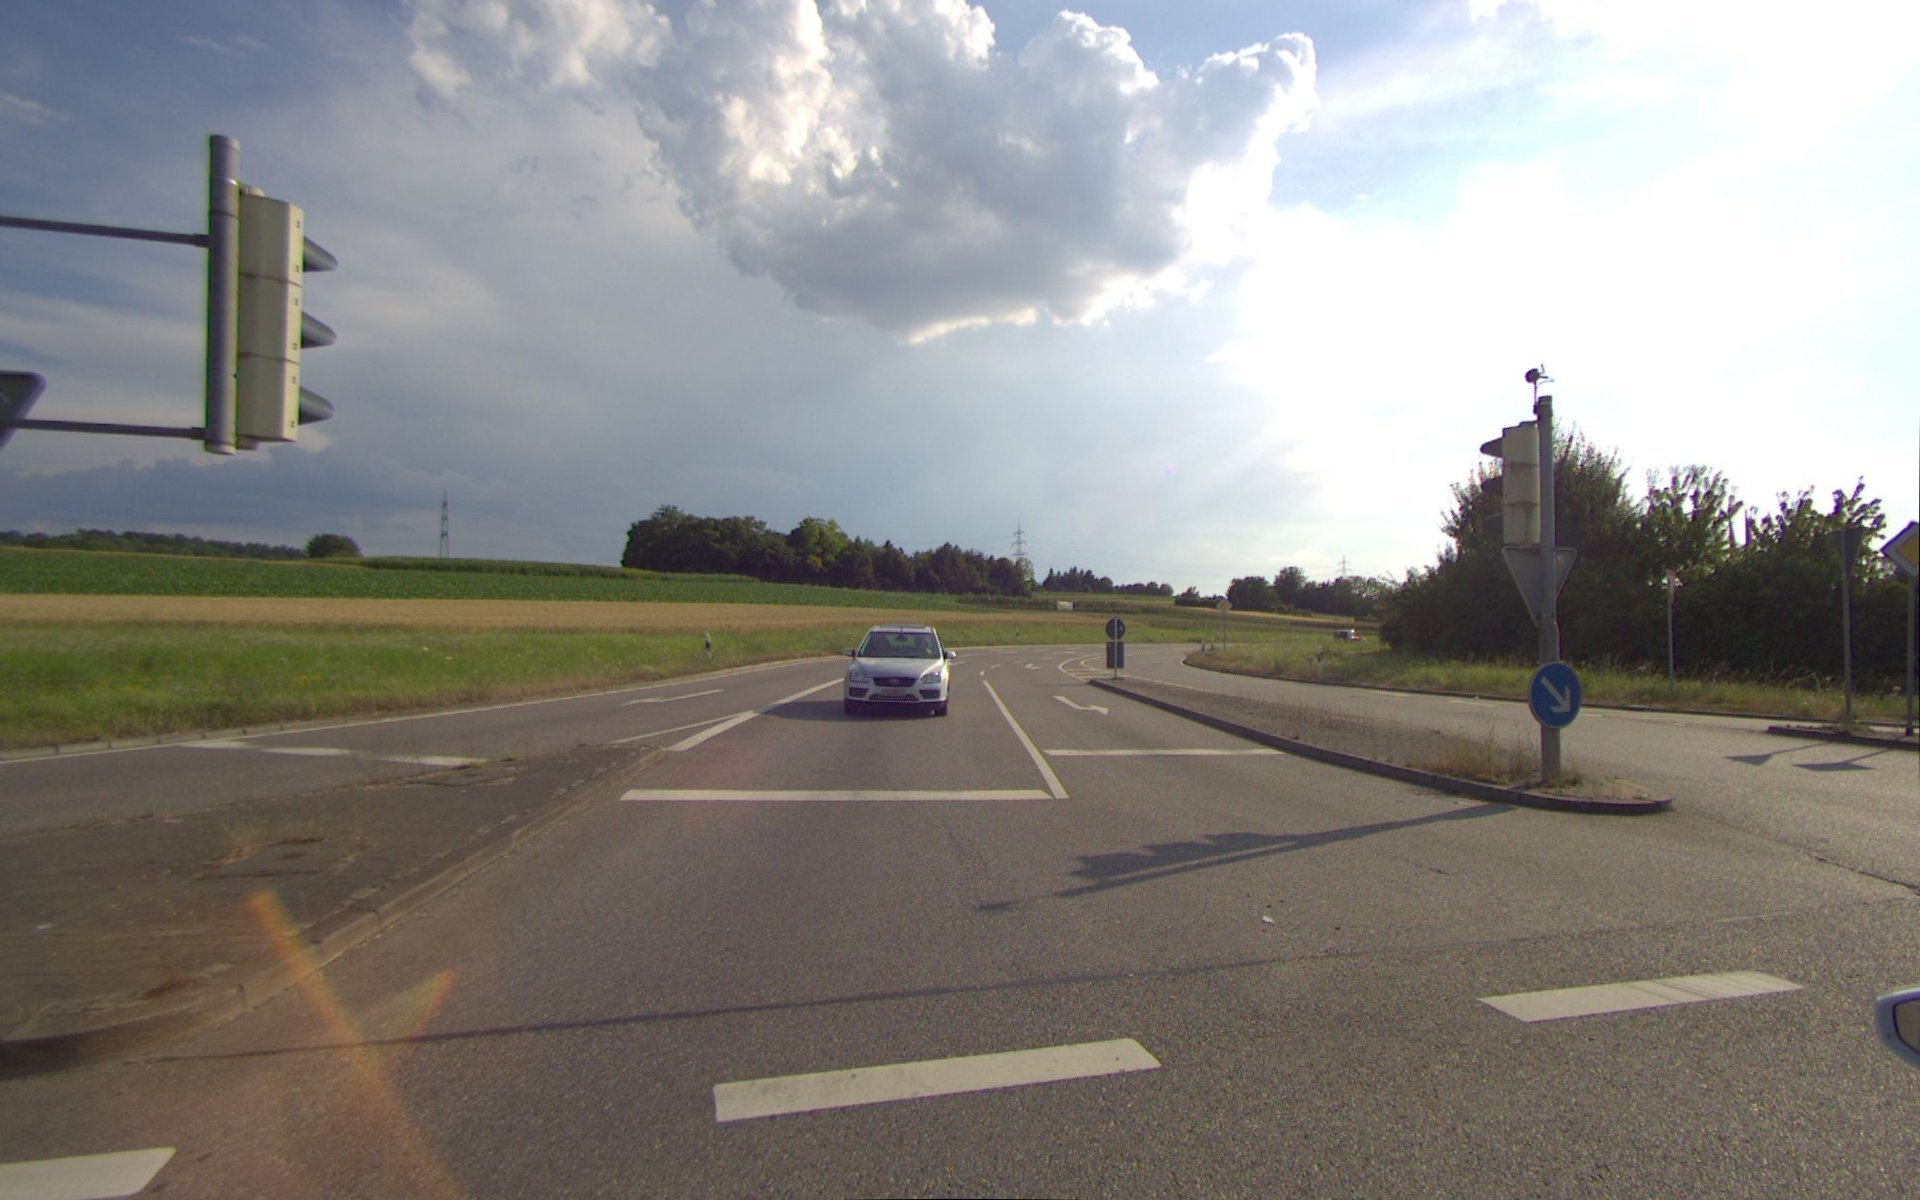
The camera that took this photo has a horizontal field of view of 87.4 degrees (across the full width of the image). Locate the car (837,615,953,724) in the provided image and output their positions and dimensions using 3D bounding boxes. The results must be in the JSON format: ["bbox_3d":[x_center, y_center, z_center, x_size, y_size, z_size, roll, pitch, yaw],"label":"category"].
[{"bbox_3d":[-1.056,1.145,18.196,1.784,1.549,4.353,2,1,0],"label":"car"}]

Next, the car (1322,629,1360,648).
[{"bbox_3d":[33.220,3.377,87.629,1.704,1.520,3.834,1,-1,44],"label":"car"}]
